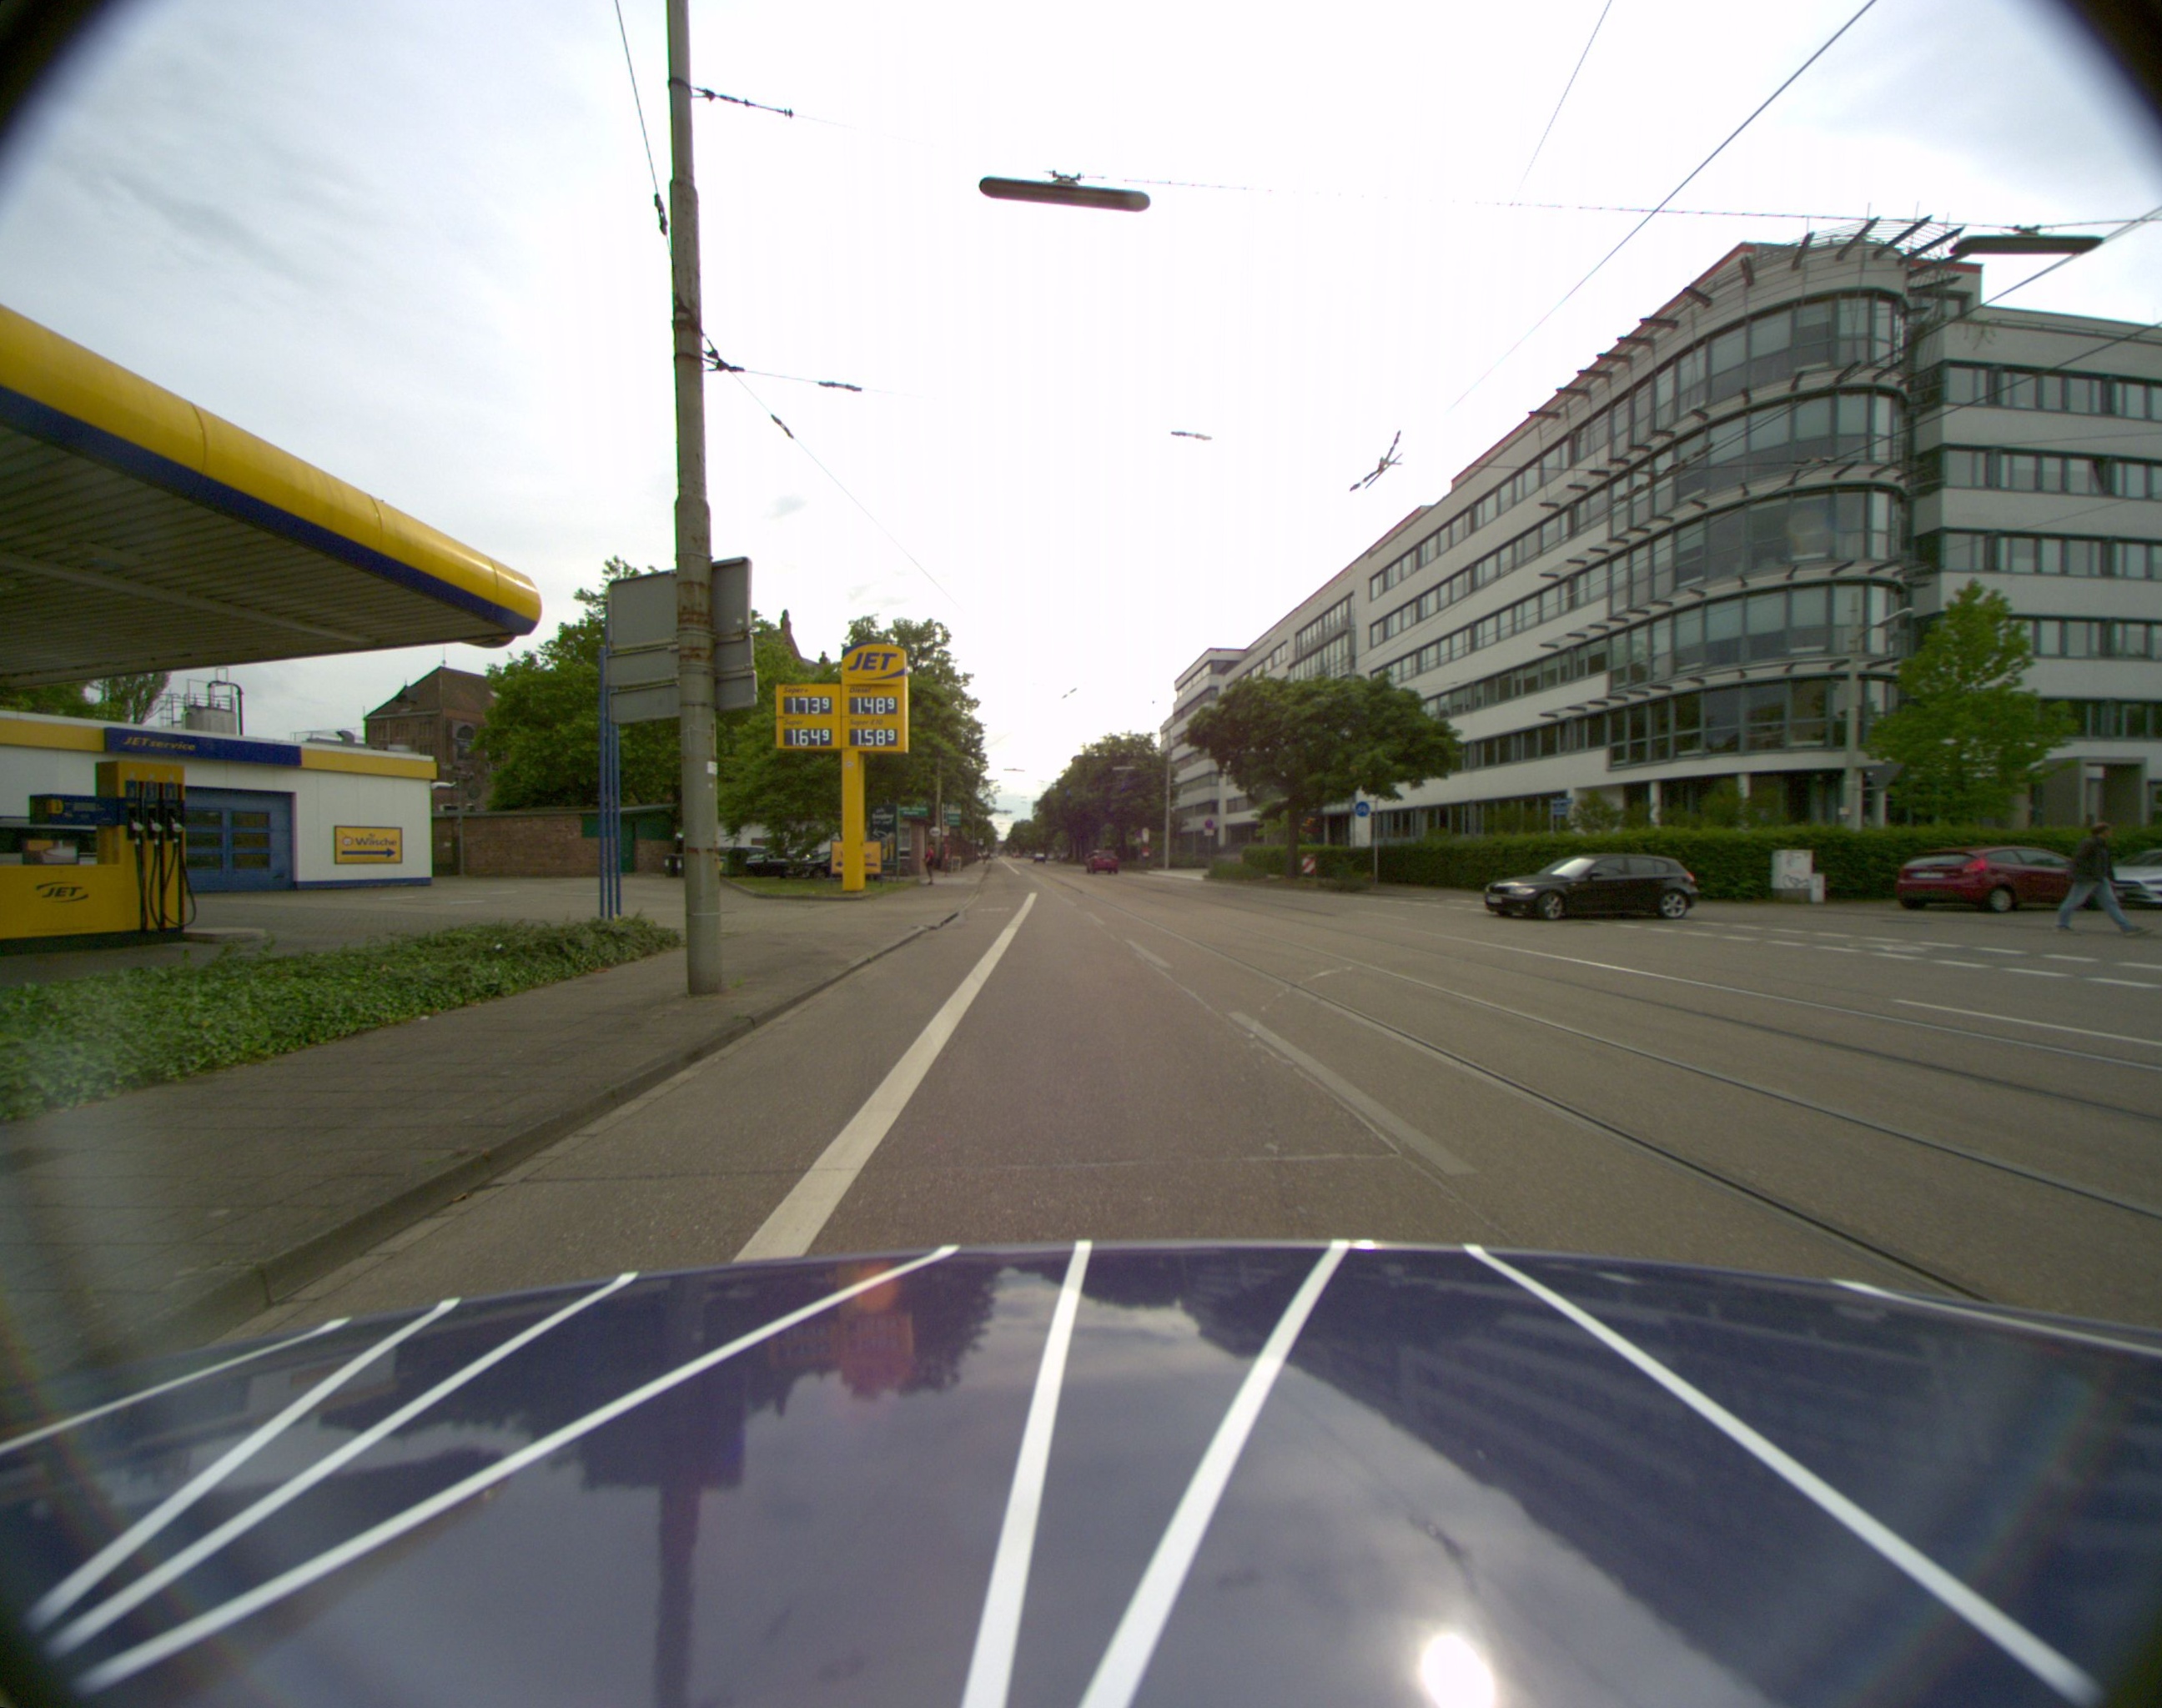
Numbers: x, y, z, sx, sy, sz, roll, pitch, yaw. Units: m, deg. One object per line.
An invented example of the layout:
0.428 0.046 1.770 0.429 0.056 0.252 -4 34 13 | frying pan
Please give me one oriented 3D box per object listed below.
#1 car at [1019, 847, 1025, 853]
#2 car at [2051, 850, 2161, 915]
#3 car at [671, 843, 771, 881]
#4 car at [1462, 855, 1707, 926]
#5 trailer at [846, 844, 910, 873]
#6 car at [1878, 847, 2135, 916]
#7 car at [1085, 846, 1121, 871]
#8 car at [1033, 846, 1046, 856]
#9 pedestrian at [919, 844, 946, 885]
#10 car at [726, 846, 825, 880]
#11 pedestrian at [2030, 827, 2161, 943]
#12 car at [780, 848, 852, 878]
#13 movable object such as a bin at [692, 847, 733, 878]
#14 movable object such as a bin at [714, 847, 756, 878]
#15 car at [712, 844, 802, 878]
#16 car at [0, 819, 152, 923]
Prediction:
-20.007 -1.286 257.830 1.999 2.002 3.999 -1 1 -2 | car
25.219 0.602 17.449 4.048 1.341 1.778 -1 1 -7 | car
-17.411 0.353 36.934 1.807 1.686 4.033 0 1 31 | car
10.724 0.745 16.399 4.110 1.361 1.788 -1 1 1 | car
-11.638 0.257 43.656 3.292 1.523 1.772 1 3 -5 | trailer
20.851 0.596 17.211 4.018 1.413 1.725 -1 -1 -5 | car
1.531 0.306 55.380 1.848 1.714 4.403 0 1 -9 | car
-6.860 -0.512 125.960 1.802 1.537 4.476 -1 1 -8 | car
-6.538 0.448 33.487 0.871 1.738 0.848 2 1 -31 | pedestrian
-14.669 0.412 36.670 1.821 1.509 4.008 0 1 35 | car
16.583 0.477 12.420 0.806 1.815 1.059 -1 1 -2 | pedestrian
-12.174 0.377 35.166 1.999 1.281 3.999 -1 1 -2 | car
-16.161 0.368 33.327 1.118 1.351 1.162 0 1 29 | movable object such as a bin
-14.964 0.355 32.850 1.118 1.312 1.162 0 1 29 | movable object such as a bin
-17.406 0.353 41.025 3.999 1.657 1.999 -1 1 -5 | car
-20.212 0.264 13.449 1.981 1.832 4.538 2 0 33 | car
